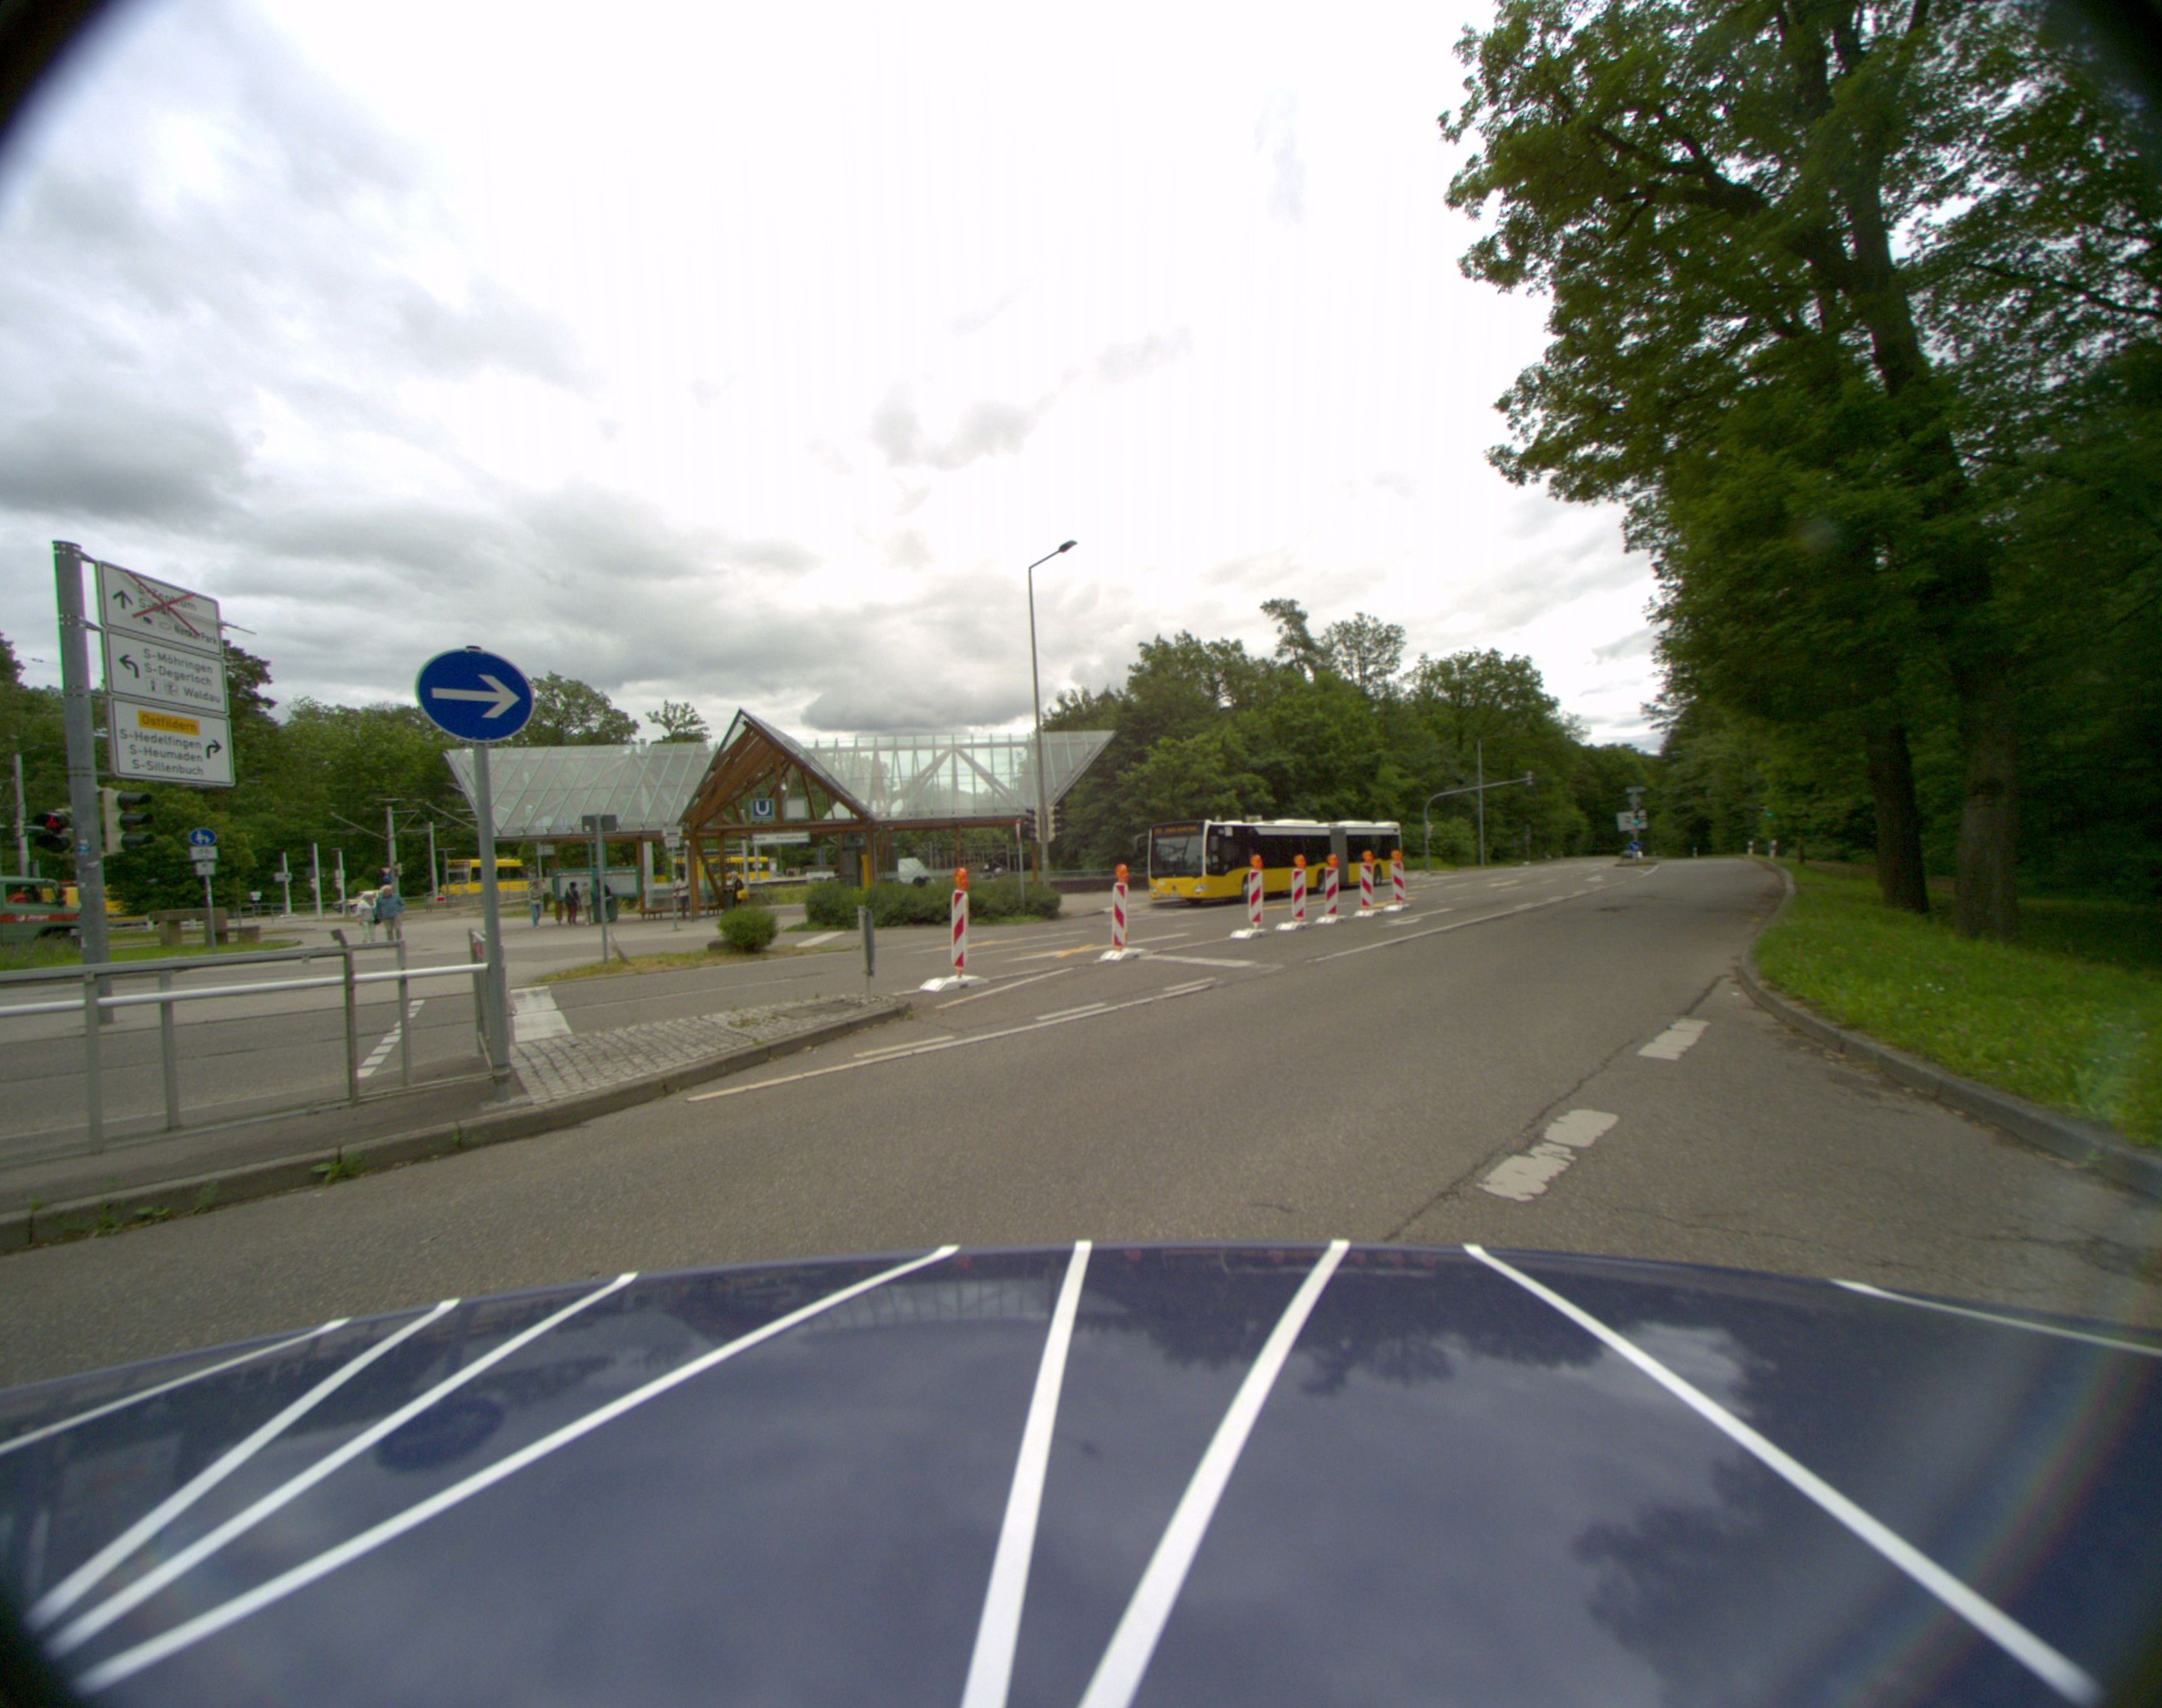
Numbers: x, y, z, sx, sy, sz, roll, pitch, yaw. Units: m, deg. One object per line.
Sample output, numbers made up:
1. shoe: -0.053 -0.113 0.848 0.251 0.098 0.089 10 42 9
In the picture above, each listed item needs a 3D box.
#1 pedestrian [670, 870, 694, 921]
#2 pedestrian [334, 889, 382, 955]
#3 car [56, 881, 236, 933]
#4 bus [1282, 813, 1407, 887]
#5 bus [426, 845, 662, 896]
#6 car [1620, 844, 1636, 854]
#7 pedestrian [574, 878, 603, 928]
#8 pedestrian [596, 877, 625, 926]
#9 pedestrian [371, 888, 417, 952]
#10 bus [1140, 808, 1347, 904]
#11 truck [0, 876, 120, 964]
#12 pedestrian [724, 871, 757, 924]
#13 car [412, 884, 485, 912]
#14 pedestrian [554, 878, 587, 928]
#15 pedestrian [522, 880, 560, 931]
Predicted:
1. pedestrian: -14.244 1.490 27.140 0.657 1.747 0.667 -4 0 -28
2. pedestrian: -20.085 1.878 21.115 0.738 1.747 0.667 -4 0 -29
3. car: -53.625 2.957 43.817 1.996 2.479 6.155 -4 0 15
4. bus: 12.846 -0.221 36.514 2.805 3.140 7.772 -3 -1 41
5. bus: -44.238 1.212 64.502 3.973 3.462 18.593 -4 -1 11
6. car: 80.682 -0.779 112.071 1.748 1.322 4.007 -4 -1 38
7. pedestrian: -17.756 1.753 27.406 0.667 1.747 0.601 -4 0 38
8. pedestrian: -17.199 1.738 27.749 0.667 1.747 0.601 -4 0 38
9. pedestrian: -19.500 1.858 21.579 0.738 1.747 0.667 -4 0 -30
10. bus: 6.750 -0.007 29.675 2.805 3.140 10.539 -3 -1 42
11. truck: -31.485 1.961 20.405 2.401 2.338 6.554 -4 -1 25
12. pedestrian: -11.808 1.506 26.364 0.667 1.747 0.656 -4 0 7
13. car: -53.866 3.742 64.787 1.996 2.001 4.332 -4 0 15
14. pedestrian: -18.458 1.775 27.477 0.561 1.747 0.669 -4 0 24
15. pedestrian: -19.375 1.822 27.283 0.733 1.747 0.736 -4 0 -3
